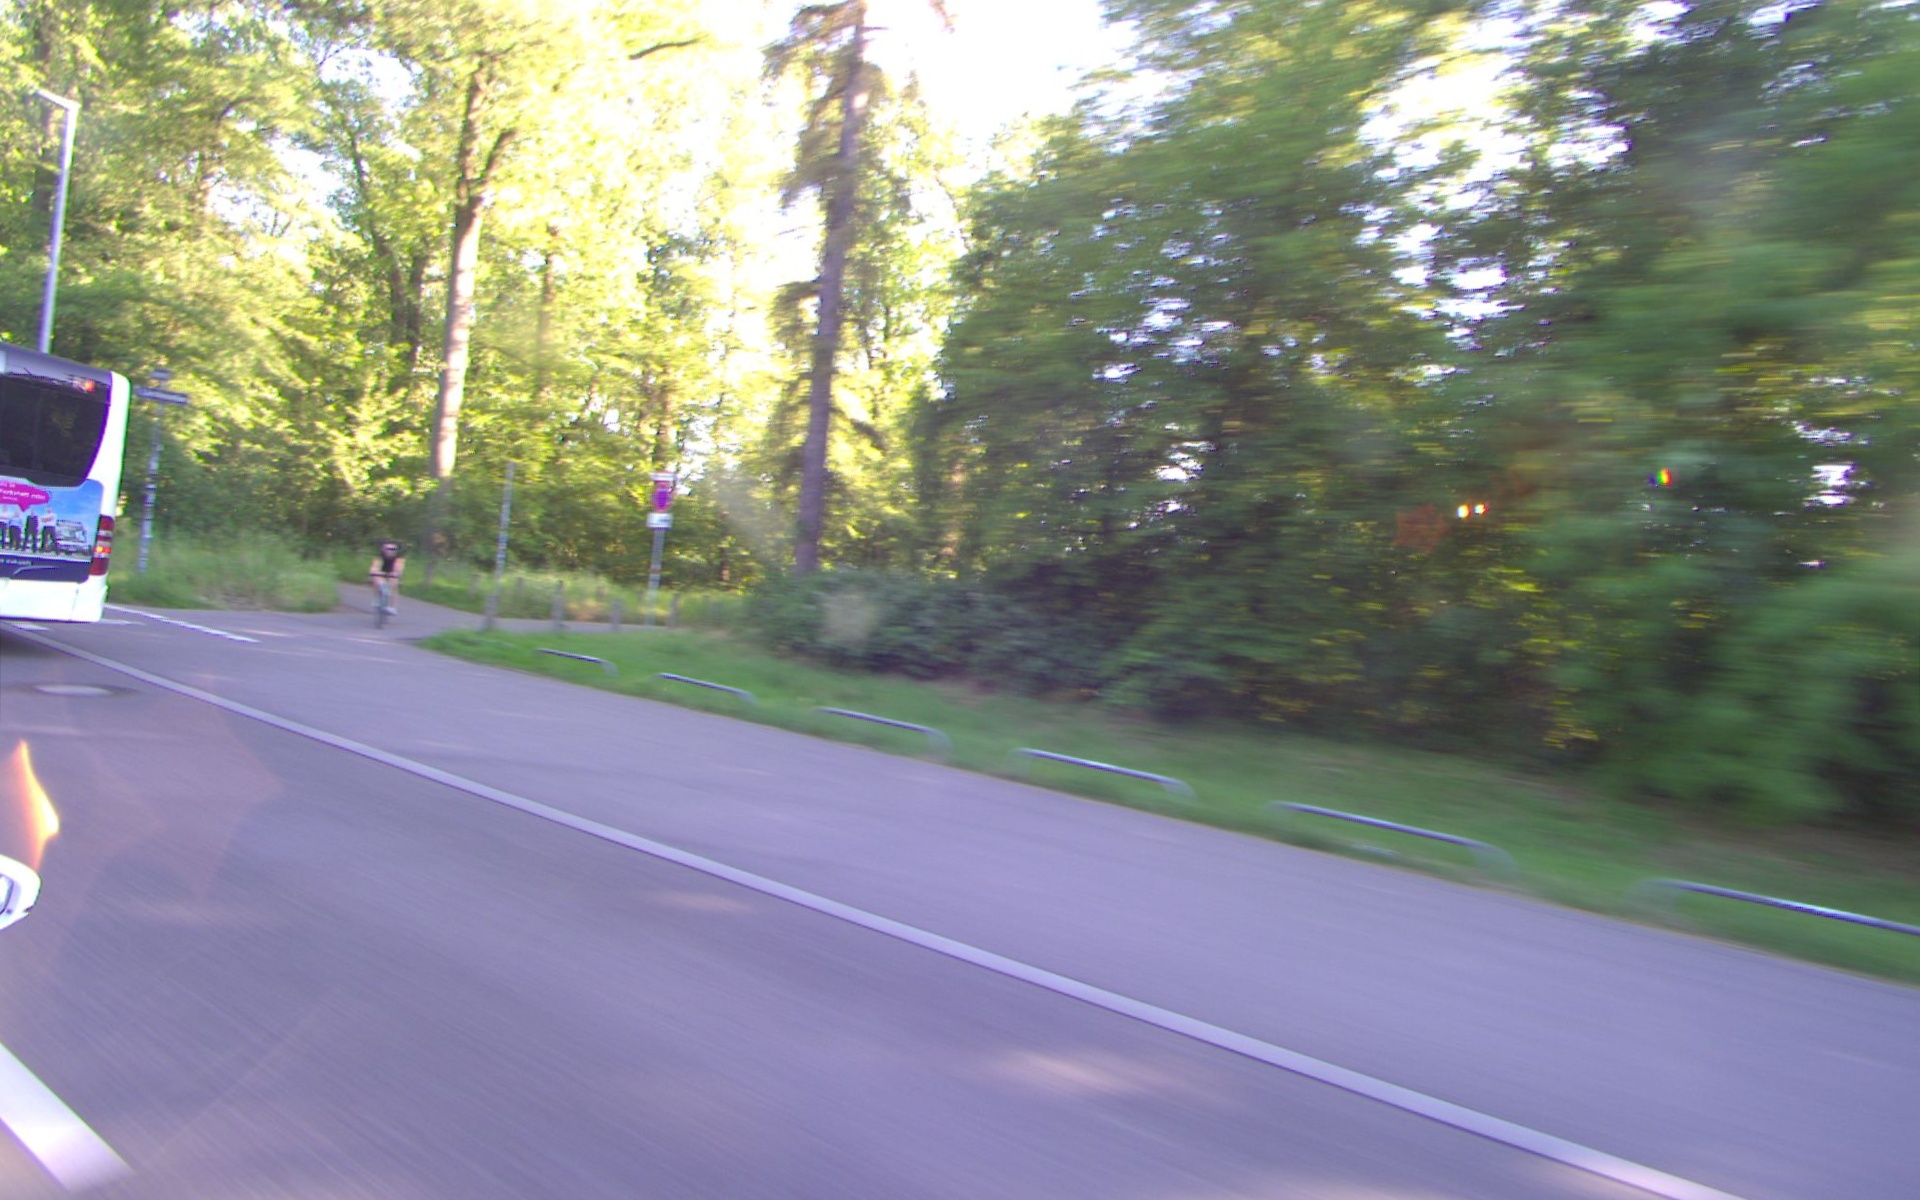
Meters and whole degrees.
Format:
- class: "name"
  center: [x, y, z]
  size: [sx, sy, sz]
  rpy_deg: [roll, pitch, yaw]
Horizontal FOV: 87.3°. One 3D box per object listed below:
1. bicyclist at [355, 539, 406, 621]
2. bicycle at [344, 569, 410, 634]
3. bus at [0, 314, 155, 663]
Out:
- class: "bicyclist"
  center: [-10.577, -0.372, 18.355]
  size: [0.478, 1.402, 0.867]
  rpy_deg: [7, -1, -44]
- class: "bicycle"
  center: [-10.625, 0.018, 18.314]
  size: [0.548, 0.979, 1.735]
  rpy_deg: [8, 0, -44]
- class: "bus"
  center: [-13.806, -1.571, 11.946]
  size: [11.843, 3.078, 2.694]
  rpy_deg: [6, -1, 32]
